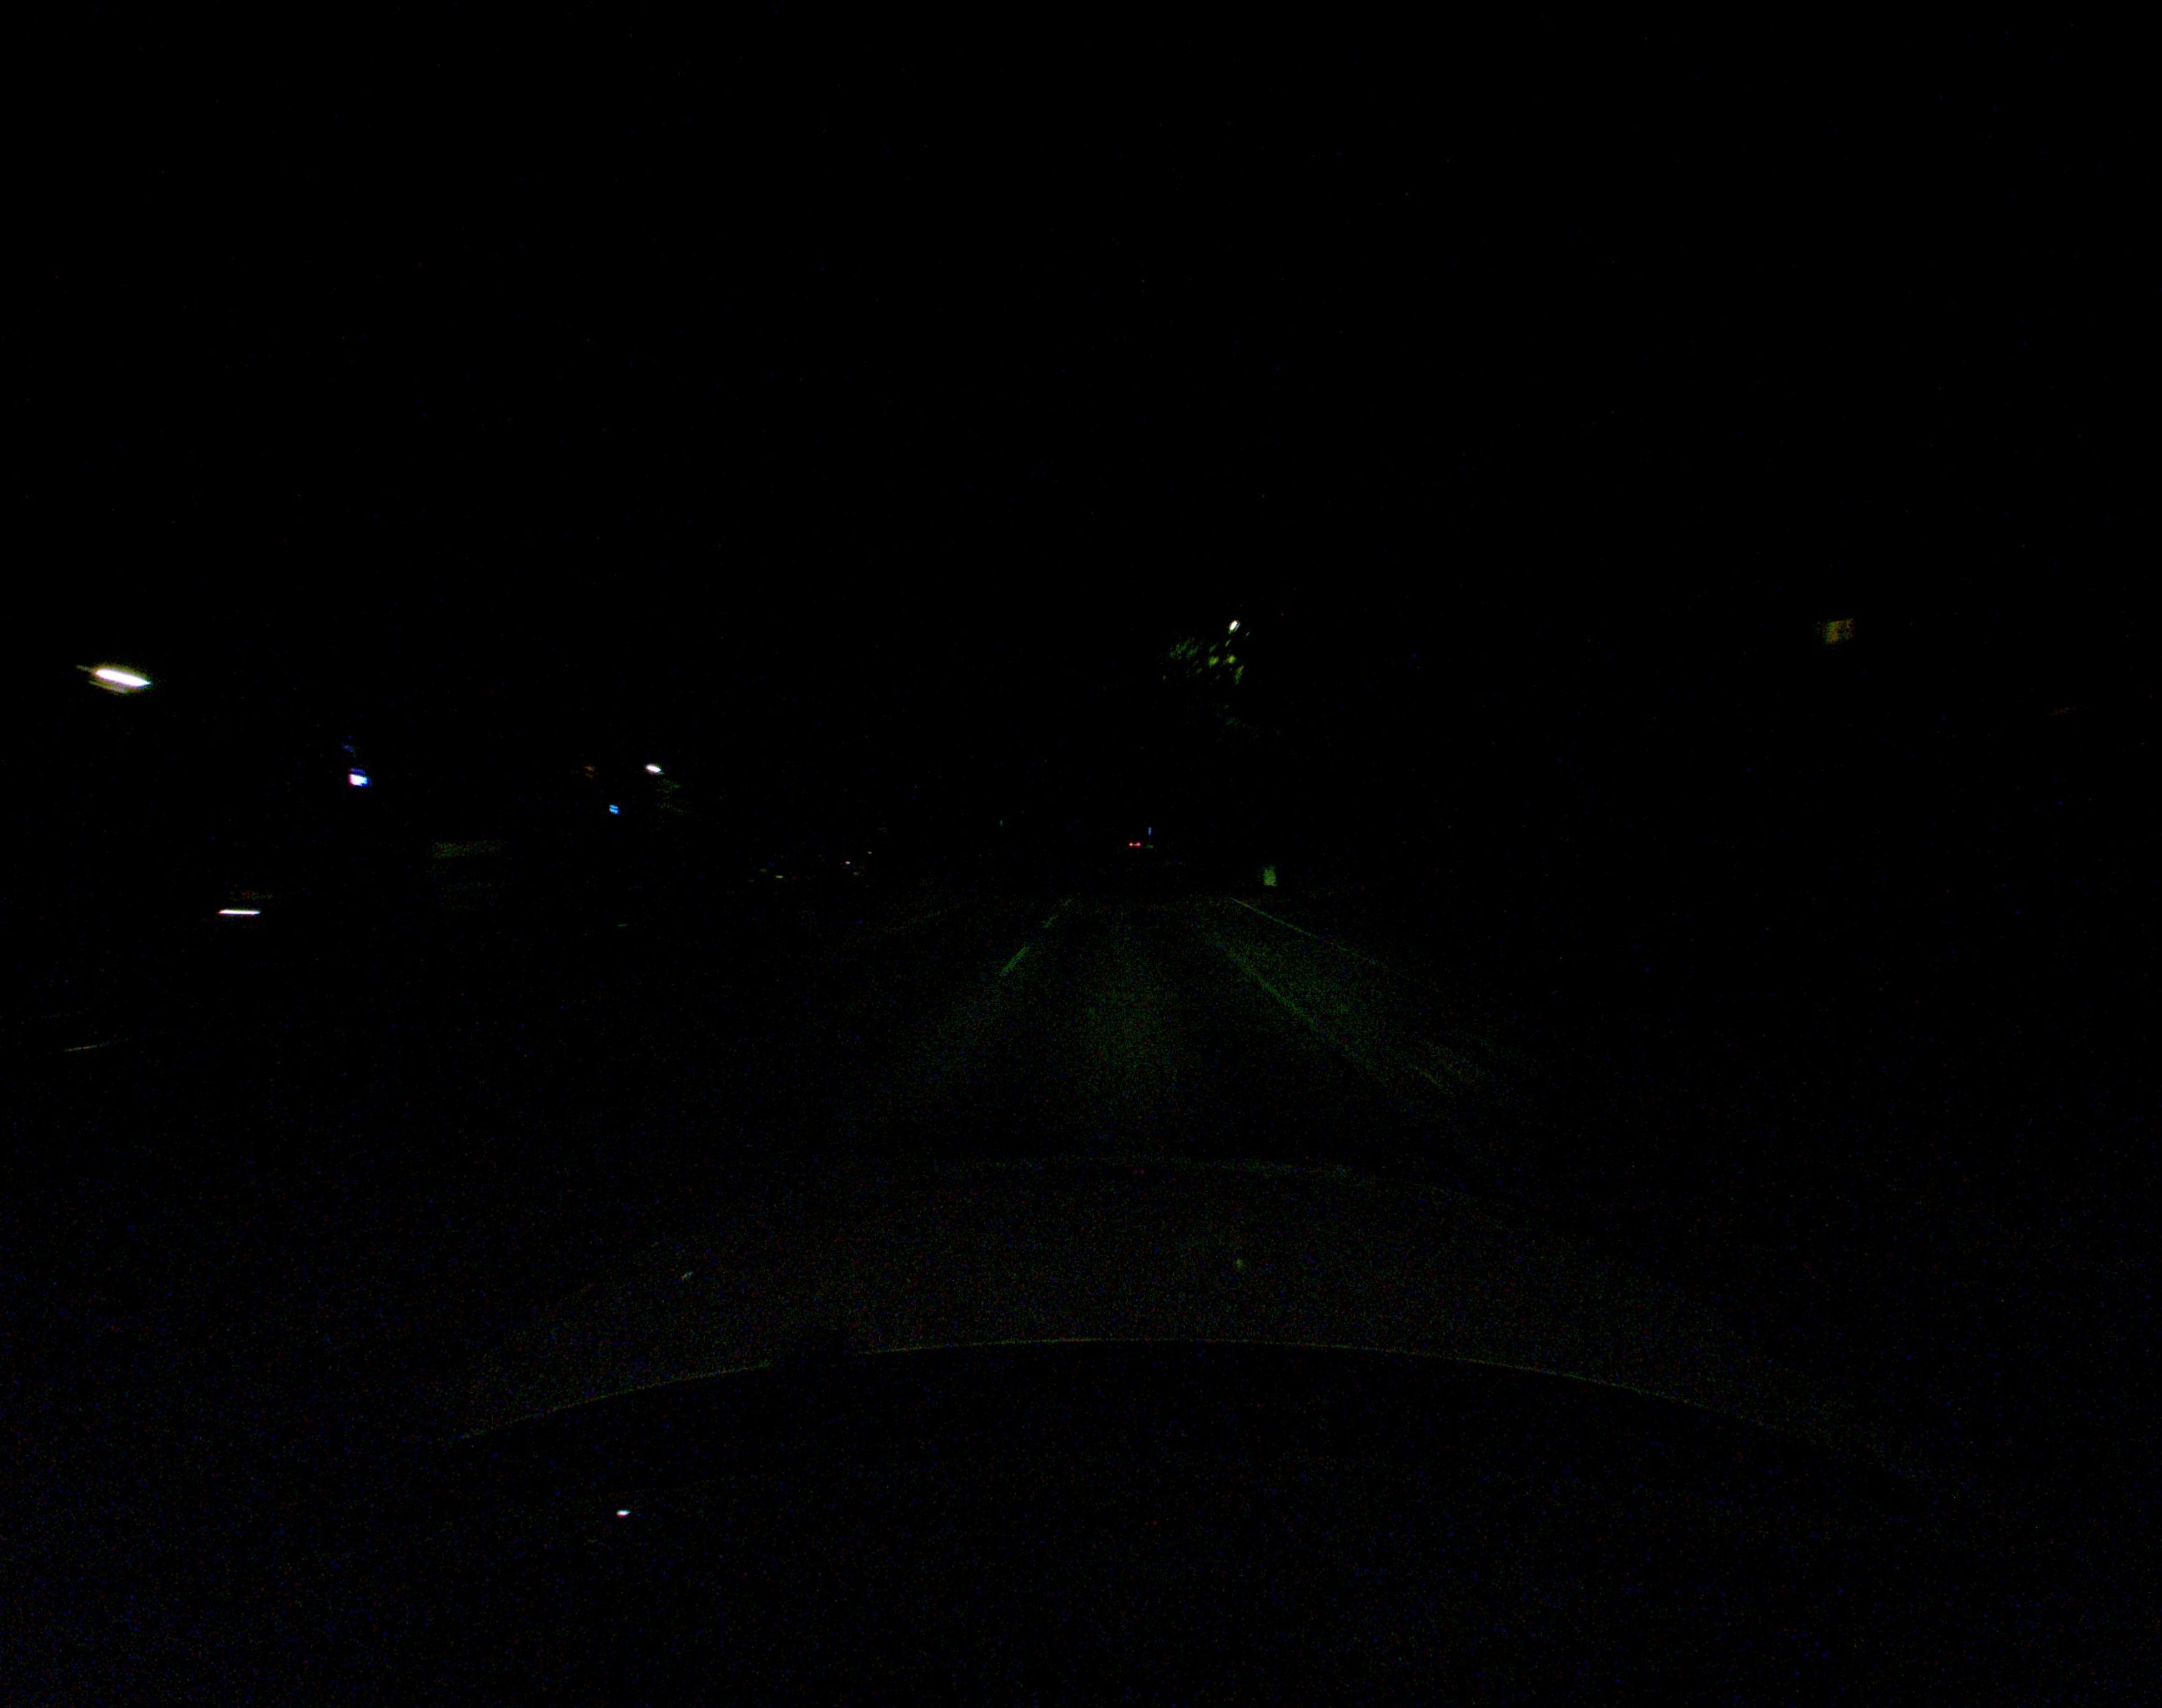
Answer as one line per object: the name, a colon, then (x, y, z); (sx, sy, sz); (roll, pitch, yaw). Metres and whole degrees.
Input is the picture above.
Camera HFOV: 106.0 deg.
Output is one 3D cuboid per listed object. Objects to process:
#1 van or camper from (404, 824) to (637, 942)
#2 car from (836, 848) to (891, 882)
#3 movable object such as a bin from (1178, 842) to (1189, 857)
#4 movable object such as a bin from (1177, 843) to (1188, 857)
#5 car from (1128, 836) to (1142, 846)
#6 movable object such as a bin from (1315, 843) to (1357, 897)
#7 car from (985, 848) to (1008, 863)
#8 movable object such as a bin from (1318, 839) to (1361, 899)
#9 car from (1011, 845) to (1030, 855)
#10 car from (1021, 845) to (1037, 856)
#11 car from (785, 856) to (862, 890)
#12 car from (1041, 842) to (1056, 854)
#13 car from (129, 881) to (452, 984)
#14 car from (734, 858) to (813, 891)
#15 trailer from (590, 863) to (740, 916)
van or camper: (-14.967, 0.668, 22.351); (2.266, 2.647, 5.663); (-5, 1, -1)
car: (-13.101, 0.617, 49.387); (1.850, 1.904, 4.881); (-3, 0, 1)
movable object such as a bin: (8.380, -0.347, 66.572); (0.829, 1.181, 0.830); (-2, 1, 6)
movable object such as a bin: (8.398, -0.345, 67.449); (0.853, 1.119, 0.842); (-2, 1, 6)
car: (9.641, -2.318, 146.221); (2.154, 1.583, 4.014); (-2, 0, 1)
movable object such as a bin: (5.557, 0.335, 17.766); (0.718, 1.121, 0.896); (-3, 0, 10)
car: (-10.083, 0.148, 97.605); (1.985, 1.628, 4.681); (-3, 1, 3)
movable object such as a bin: (5.369, 0.303, 16.939); (0.719, 1.200, 0.722); (-3, 0, 10)
car: (-8.717, -0.558, 117.294); (1.985, 1.338, 5.437); (-3, 1, 3)
car: (-7.835, -0.548, 123.075); (1.985, 1.530, 4.004); (-3, 1, 3)
car: (-13.571, 0.968, 43.318); (1.892, 1.522, 5.181); (-3, 0, 6)
car: (-5.954, -1.088, 147.799); (2.083, 2.013, 4.004); (-7, 1, 3)
car: (-15.153, 1.411, 16.070); (1.639, 1.339, 4.546); (-7, 0, 3)
car: (-14.245, 0.930, 37.833); (3.020, 1.326, 1.533); (-3, 0, -2)
trailer: (-14.720, 1.200, 29.220); (2.406, 1.374, 4.666); (-7, 0, 8)
